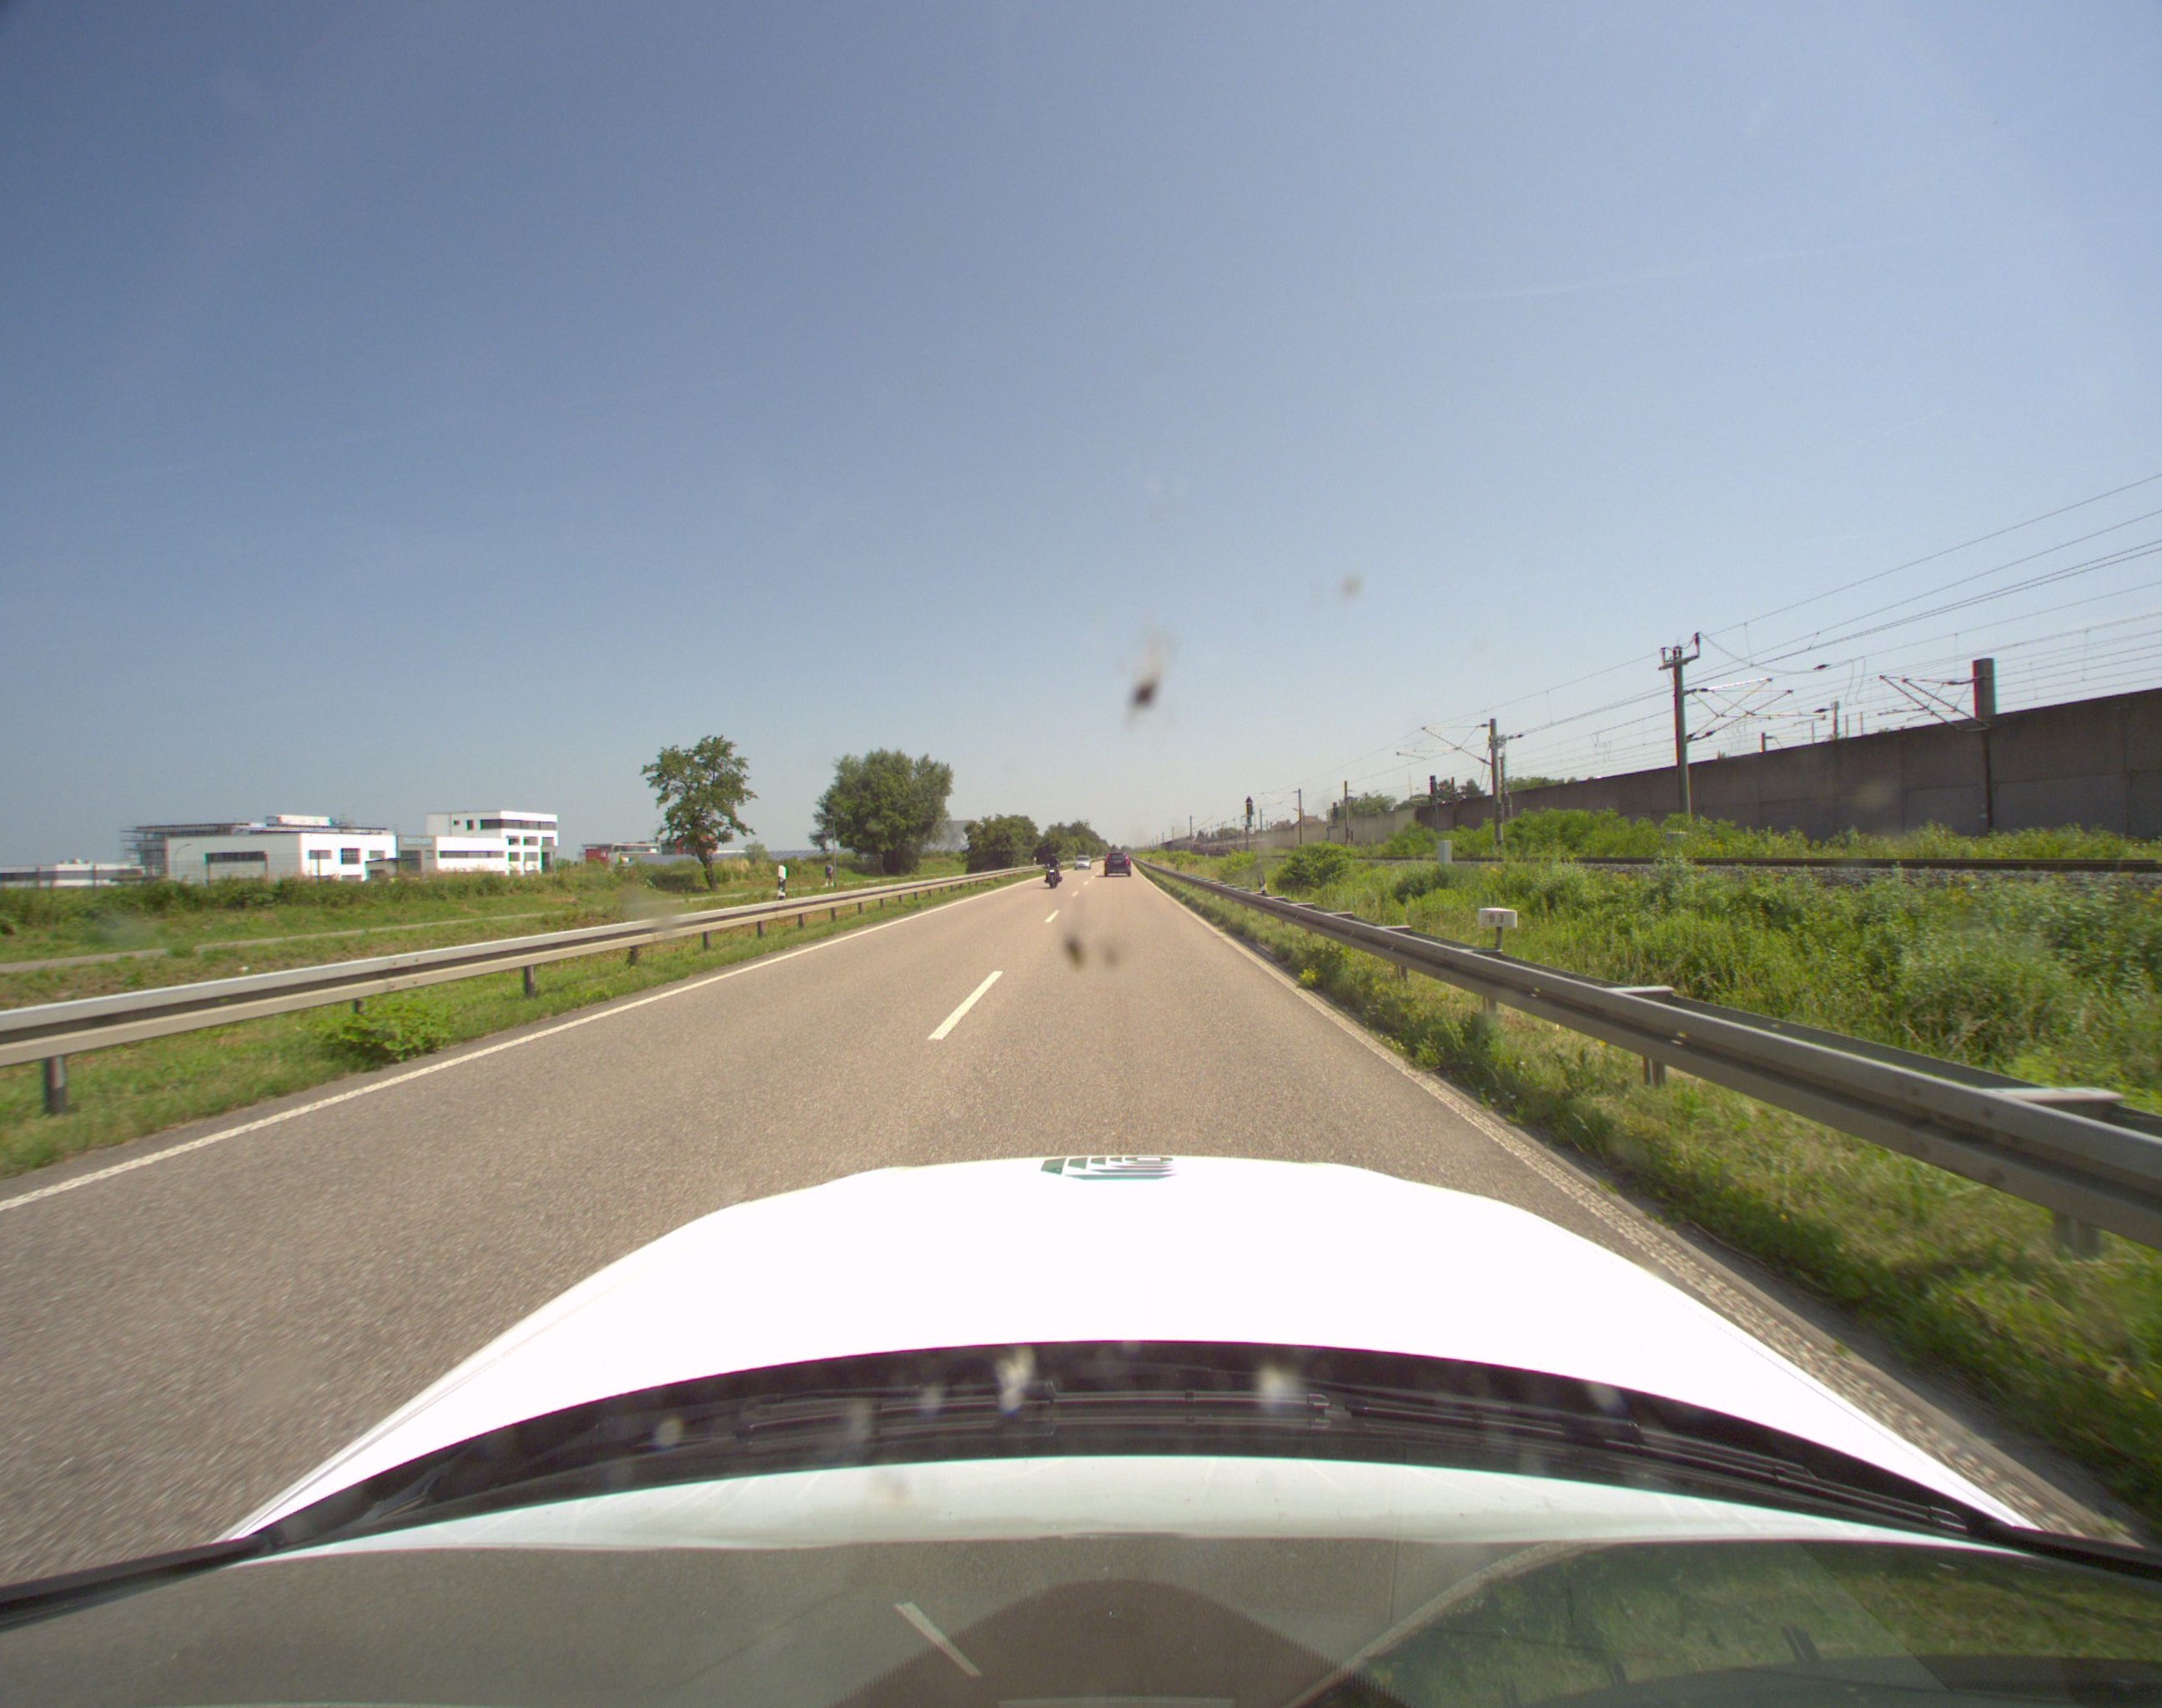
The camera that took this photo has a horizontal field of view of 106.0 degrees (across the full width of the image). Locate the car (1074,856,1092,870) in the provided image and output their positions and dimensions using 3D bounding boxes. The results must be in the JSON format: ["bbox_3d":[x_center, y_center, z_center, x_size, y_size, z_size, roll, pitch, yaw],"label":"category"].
[{"bbox_3d":[0.249,0.955,88.646,1.691,1.475,4.689,0,0,2],"label":"car"}]

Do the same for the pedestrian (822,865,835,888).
[{"bbox_3d":[-19.492,1.732,62.886,0.576,1.750,0.822,-3,-1,7],"label":"pedestrian"}]

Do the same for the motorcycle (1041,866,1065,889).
[{"bbox_3d":[-1.302,1.082,38.518,0.924,1.028,2.269,0,0,2],"label":"motorcycle"}]

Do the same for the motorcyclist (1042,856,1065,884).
[{"bbox_3d":[-1.292,0.744,38.504,0.989,1.310,0.936,0,-1,2],"label":"motorcyclist"}]

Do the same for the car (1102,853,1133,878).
[{"bbox_3d":[2.557,0.801,57.854,1.987,1.700,4.000,-1,0,1],"label":"car"}]
